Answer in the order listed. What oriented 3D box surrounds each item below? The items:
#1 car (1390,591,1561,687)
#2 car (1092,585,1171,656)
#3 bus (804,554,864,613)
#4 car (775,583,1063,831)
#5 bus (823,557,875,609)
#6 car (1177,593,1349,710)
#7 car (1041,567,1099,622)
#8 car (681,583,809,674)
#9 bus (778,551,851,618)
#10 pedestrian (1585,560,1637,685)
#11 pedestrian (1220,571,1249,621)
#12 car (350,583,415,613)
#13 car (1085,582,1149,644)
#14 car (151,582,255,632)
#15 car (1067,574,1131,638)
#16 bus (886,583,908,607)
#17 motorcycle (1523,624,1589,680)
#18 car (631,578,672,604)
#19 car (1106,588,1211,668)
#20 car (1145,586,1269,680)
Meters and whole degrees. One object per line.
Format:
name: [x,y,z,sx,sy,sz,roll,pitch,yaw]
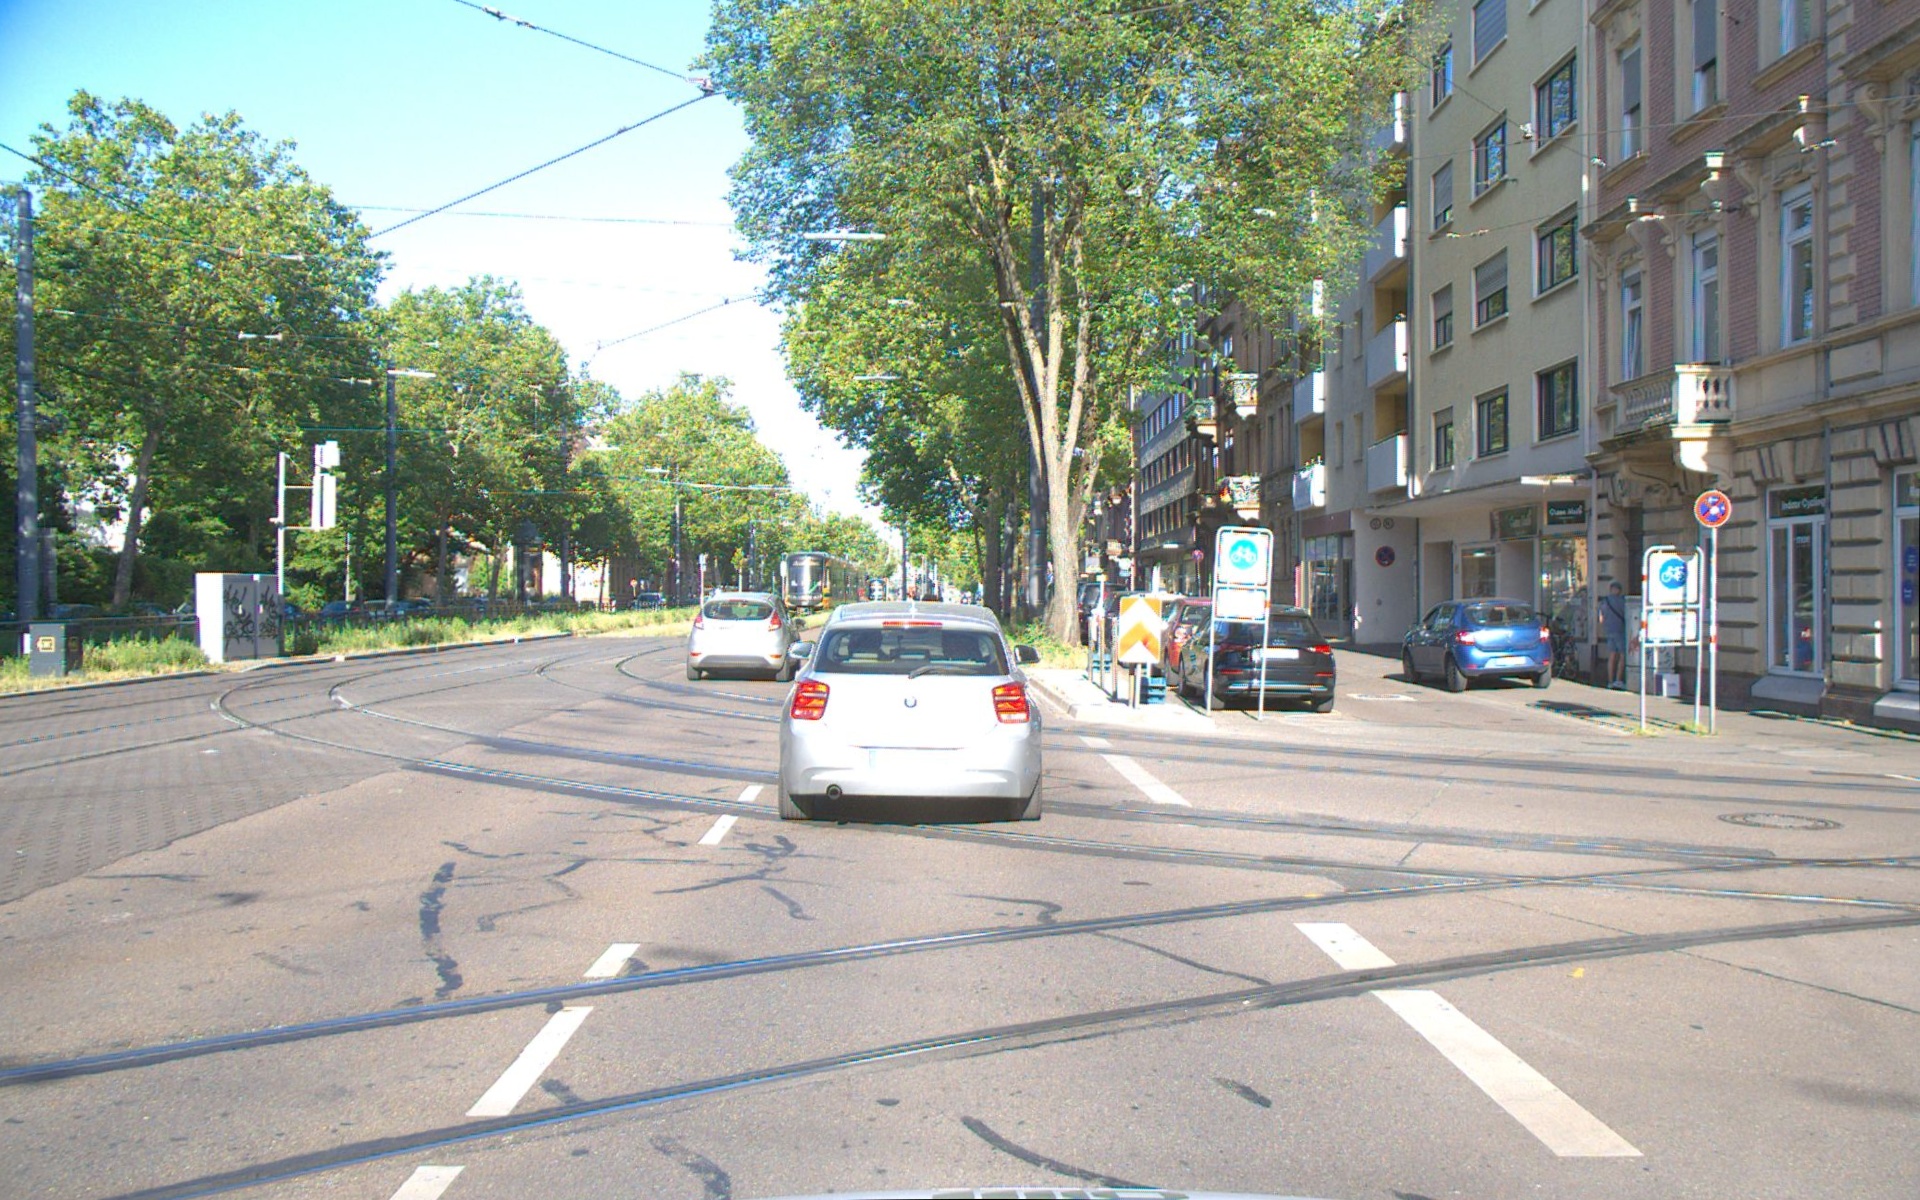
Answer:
car: [9.111,0.636,29.562,1.659,1.506,3.998,-2,1,-2]
car: [4.019,0.447,39.158,1.529,1.511,3.788,2,1,2]
bus: [-7.992,-1.053,106.407,2.810,3.504,12.215,1,0,0]
car: [-0.267,0.634,12.084,1.726,1.457,4.000,1,1,-1]
bus: [-7.855,-1.204,118.345,2.810,3.504,11.611,1,0,0]
car: [4.275,0.672,23.914,1.662,1.446,4.169,2,1,0]
car: [3.955,-0.217,60.131,1.826,1.847,4.800,2,1,1]
car: [-3.620,0.435,28.402,1.613,1.386,3.760,2,1,1]
bus: [-8.085,-0.887,93.656,2.810,3.504,13.218,1,0,0]
pedestrian: [10.948,0.363,27.821,0.501,2.048,0.852,2,0,3]
pedestrian: [10.459,-0.157,62.994,0.979,1.872,0.715,0,0,2]
car: [-27.709,-0.120,79.418,1.733,1.335,3.780,2,1,0]
car: [4.088,0.309,43.474,1.480,1.506,3.493,2,1,3]
car: [-28.319,0.232,62.041,1.954,1.713,4.512,2,1,-3]
car: [3.949,0.134,47.385,1.592,1.697,4.143,2,1,2]
bus: [-10.121,-0.846,267.409,2.693,3.689,18.848,1,0,0]
motorcycle: [10.733,0.918,29.812,0.476,0.911,1.873,-2,1,0]
car: [-20.439,-0.609,109.718,1.847,1.647,4.597,2,1,-1]
car: [4.125,0.539,34.848,1.593,1.502,3.696,2,1,-2]
car: [4.269,0.532,29.098,1.556,1.459,3.905,2,1,0]
